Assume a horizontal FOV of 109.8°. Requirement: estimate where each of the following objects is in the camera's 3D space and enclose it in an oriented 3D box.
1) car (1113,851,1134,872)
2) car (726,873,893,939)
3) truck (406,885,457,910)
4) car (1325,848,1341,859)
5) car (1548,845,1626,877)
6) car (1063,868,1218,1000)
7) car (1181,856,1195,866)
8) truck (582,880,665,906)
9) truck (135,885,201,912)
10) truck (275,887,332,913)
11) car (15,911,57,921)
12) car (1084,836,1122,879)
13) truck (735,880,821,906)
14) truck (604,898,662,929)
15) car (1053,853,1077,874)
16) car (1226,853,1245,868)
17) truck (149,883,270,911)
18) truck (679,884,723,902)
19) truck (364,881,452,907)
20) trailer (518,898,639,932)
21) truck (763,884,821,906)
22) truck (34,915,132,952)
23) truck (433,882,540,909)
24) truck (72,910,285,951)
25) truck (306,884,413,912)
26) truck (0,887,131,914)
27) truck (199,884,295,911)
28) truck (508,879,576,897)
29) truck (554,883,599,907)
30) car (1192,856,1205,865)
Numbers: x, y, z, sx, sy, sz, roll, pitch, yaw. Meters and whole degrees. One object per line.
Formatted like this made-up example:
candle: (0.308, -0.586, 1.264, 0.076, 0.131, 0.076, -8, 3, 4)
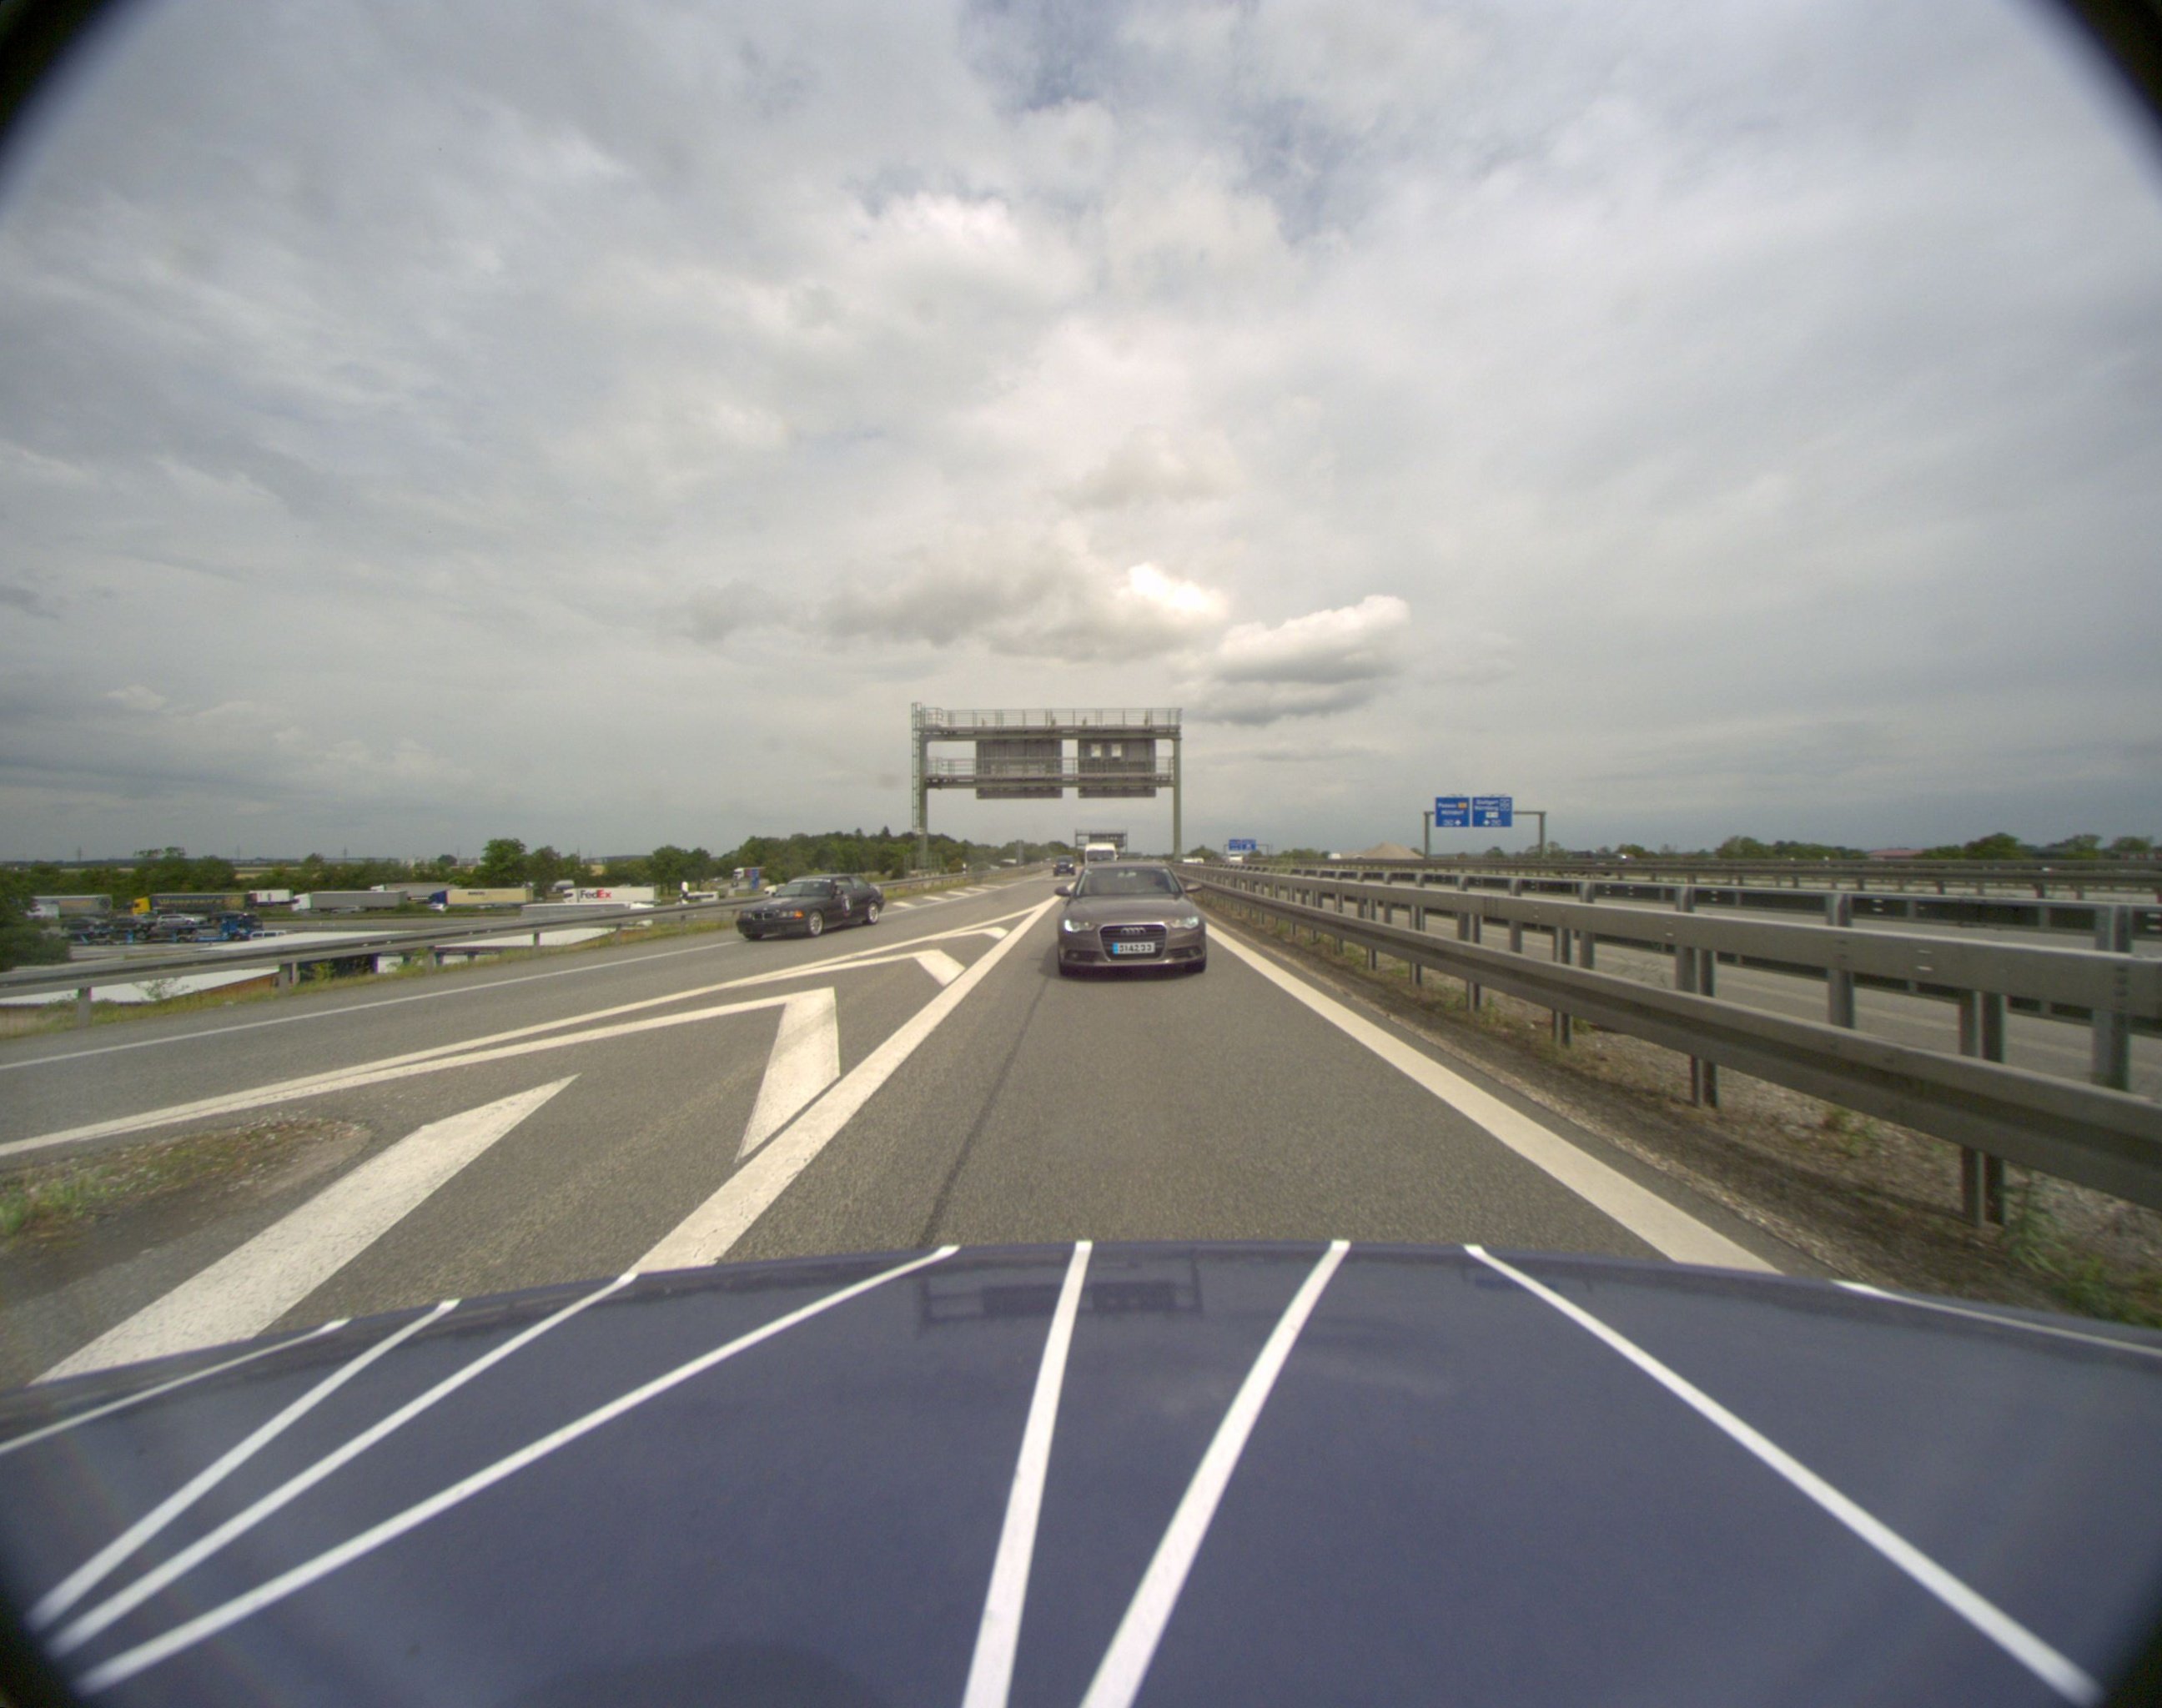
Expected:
car: (4.030, 0.738, 72.249, 1.845, 1.870, 4.290, -2, -1, 3)
car: (-6.254, 1.161, 18.110, 1.707, 1.273, 4.370, -2, -1, 11)
truck: (-126.067, 8.349, 147.599, 6.295, 4.484, 3.929, -2, 0, -12)
car: (53.413, -0.029, 160.955, 1.998, 2.292, 4.491, -2, -1, 3)
car: (32.326, 0.440, 48.687, 1.998, 1.851, 4.505, -4, -1, 2)
car: (0.724, 0.962, 10.748, 1.747, 1.380, 4.000, -2, 0, 1)
car: (19.341, 1.315, 137.886, 1.998, 1.739, 4.001, -2, -1, 1)
truck: (-92.773, 7.896, 154.409, 13.795, 4.527, 4.005, -2, -1, -12)
truck: (-166.477, 8.034, 138.699, 6.499, 4.471, 4.069, -2, 0, -10)
truck: (-146.178, 8.553, 142.939, 6.294, 4.484, 3.929, -2, 0, -11)
car: (-173.821, 10.336, 126.418, 4.001, 1.477, 1.736, -1, 0, -11)
car: (1.347, 0.267, 47.623, 2.119, 2.439, 6.153, -2, -1, 1)
truck: (-63.972, 8.124, 160.887, 16.179, 4.672, 3.990, -2, 0, -12)
truck: (-64.829, 8.551, 110.153, 6.531, 4.075, 2.987, -1, 0, -12)
car: (-1.386, 0.879, 68.488, 1.929, 1.761, 4.001, -2, -1, 1)
car: (22.486, 0.943, 110.782, 1.998, 2.001, 4.467, -2, -1, 3)
truck: (-160.104, 7.885, 139.808, 15.307, 4.527, 4.005, -2, -1, -10)
truck: (-76.420, 7.784, 152.897, 7.569, 3.178, 2.230, -2, 0, -11)
truck: (-156.463, 9.224, 176.950, 3.851, 5.183, 14.888, -2, -1, 42)
trailer: (-71.635, 8.656, 108.716, 14.252, 4.075, 2.987, -1, 0, -12)
truck: (-59.530, 8.497, 156.823, 10.788, 4.047, 3.237, -2, -1, -15)
truck: (-126.876, 10.055, 96.729, 6.423, 3.968, 3.856, -2, 1, -15)
truck: (-116.788, 8.029, 149.580, 16.369, 4.527, 4.005, -2, -1, -12)
truck: (-117.316, 9.914, 99.312, 19.055, 4.036, 3.989, -2, 0, -14)
truck: (-137.179, 8.292, 144.705, 14.888, 4.527, 4.005, -2, -1, -11)
truck: (-179.940, 8.116, 134.788, 14.897, 4.007, 4.140, -2, -1, -12)
truck: (-175.230, 9.058, 159.969, 13.026, 5.010, 3.942, -1, -1, -40)
truck: (-142.101, 8.897, 200.630, 3.078, 4.065, 14.762, -2, -1, 30)
truck: (-101.284, 8.180, 152.610, 6.295, 4.484, 3.929, -2, 0, -11)
car: (23.932, 1.357, 154.541, 1.998, 1.870, 4.001, -2, -1, 1)
